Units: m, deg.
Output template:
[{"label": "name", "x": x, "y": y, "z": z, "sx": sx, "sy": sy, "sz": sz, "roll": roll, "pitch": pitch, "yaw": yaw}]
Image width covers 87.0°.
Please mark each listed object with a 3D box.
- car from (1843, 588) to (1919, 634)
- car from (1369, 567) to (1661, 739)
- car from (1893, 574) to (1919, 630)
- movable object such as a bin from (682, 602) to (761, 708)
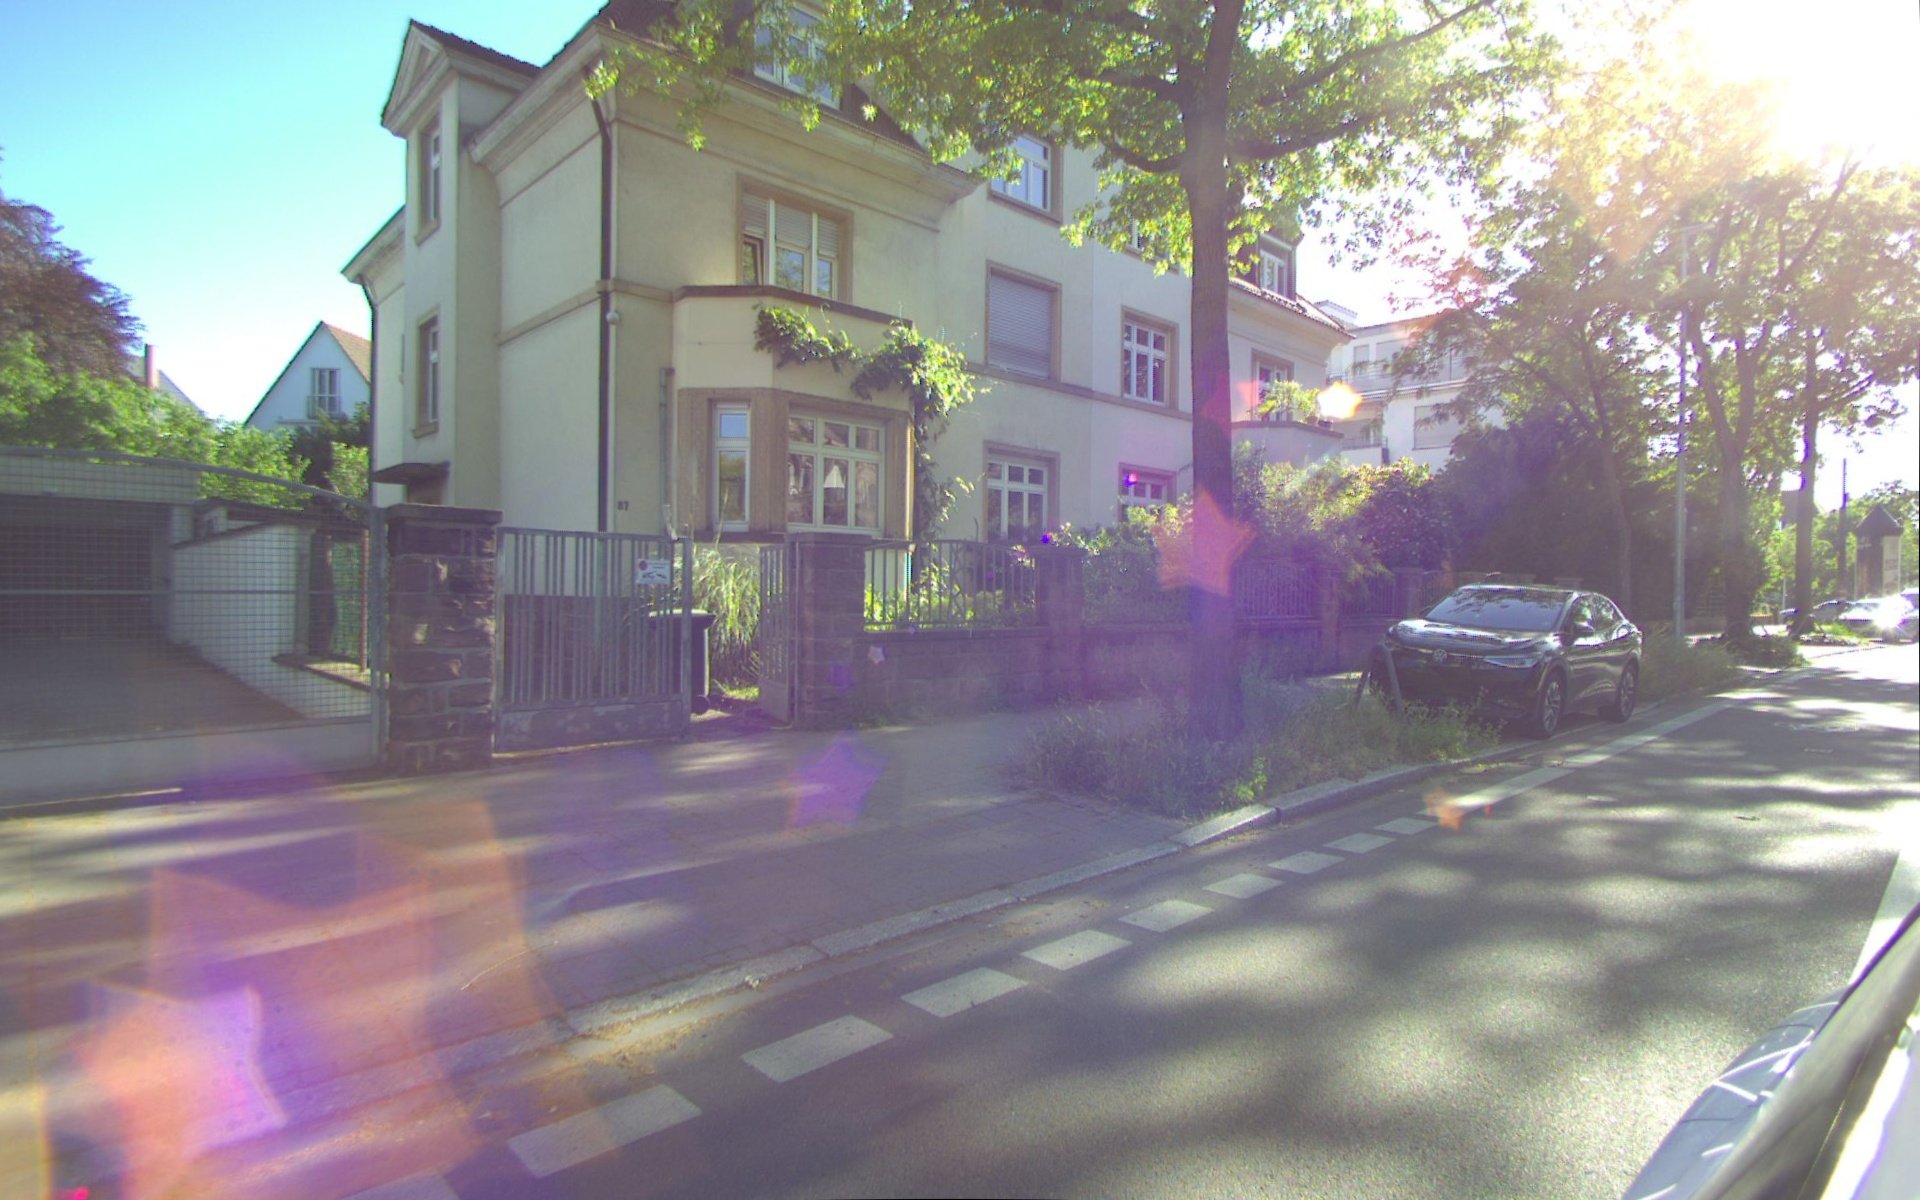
[{"label": "car", "x": 31.549, "y": 0.346, "z": 34.412, "sx": 3.930, "sy": 1.469, "sz": 1.785, "roll": 0, "pitch": 1, "yaw": -41}, {"label": "car", "x": 6.712, "y": 0.502, "z": 12.070, "sx": 4.021, "sy": 1.626, "sz": 1.743, "roll": 0, "pitch": 4, "yaw": -42}, {"label": "car", "x": 36.784, "y": 0.060, "z": 38.074, "sx": 4.503, "sy": 2.039, "sz": 1.997, "roll": 0, "pitch": 1, "yaw": -41}, {"label": "movable object such as a bin", "x": -2.615, "y": 0.569, "z": 11.030, "sx": 0.697, "sy": 1.070, "sz": 1.093, "roll": 0, "pitch": 0, "yaw": -20}]
